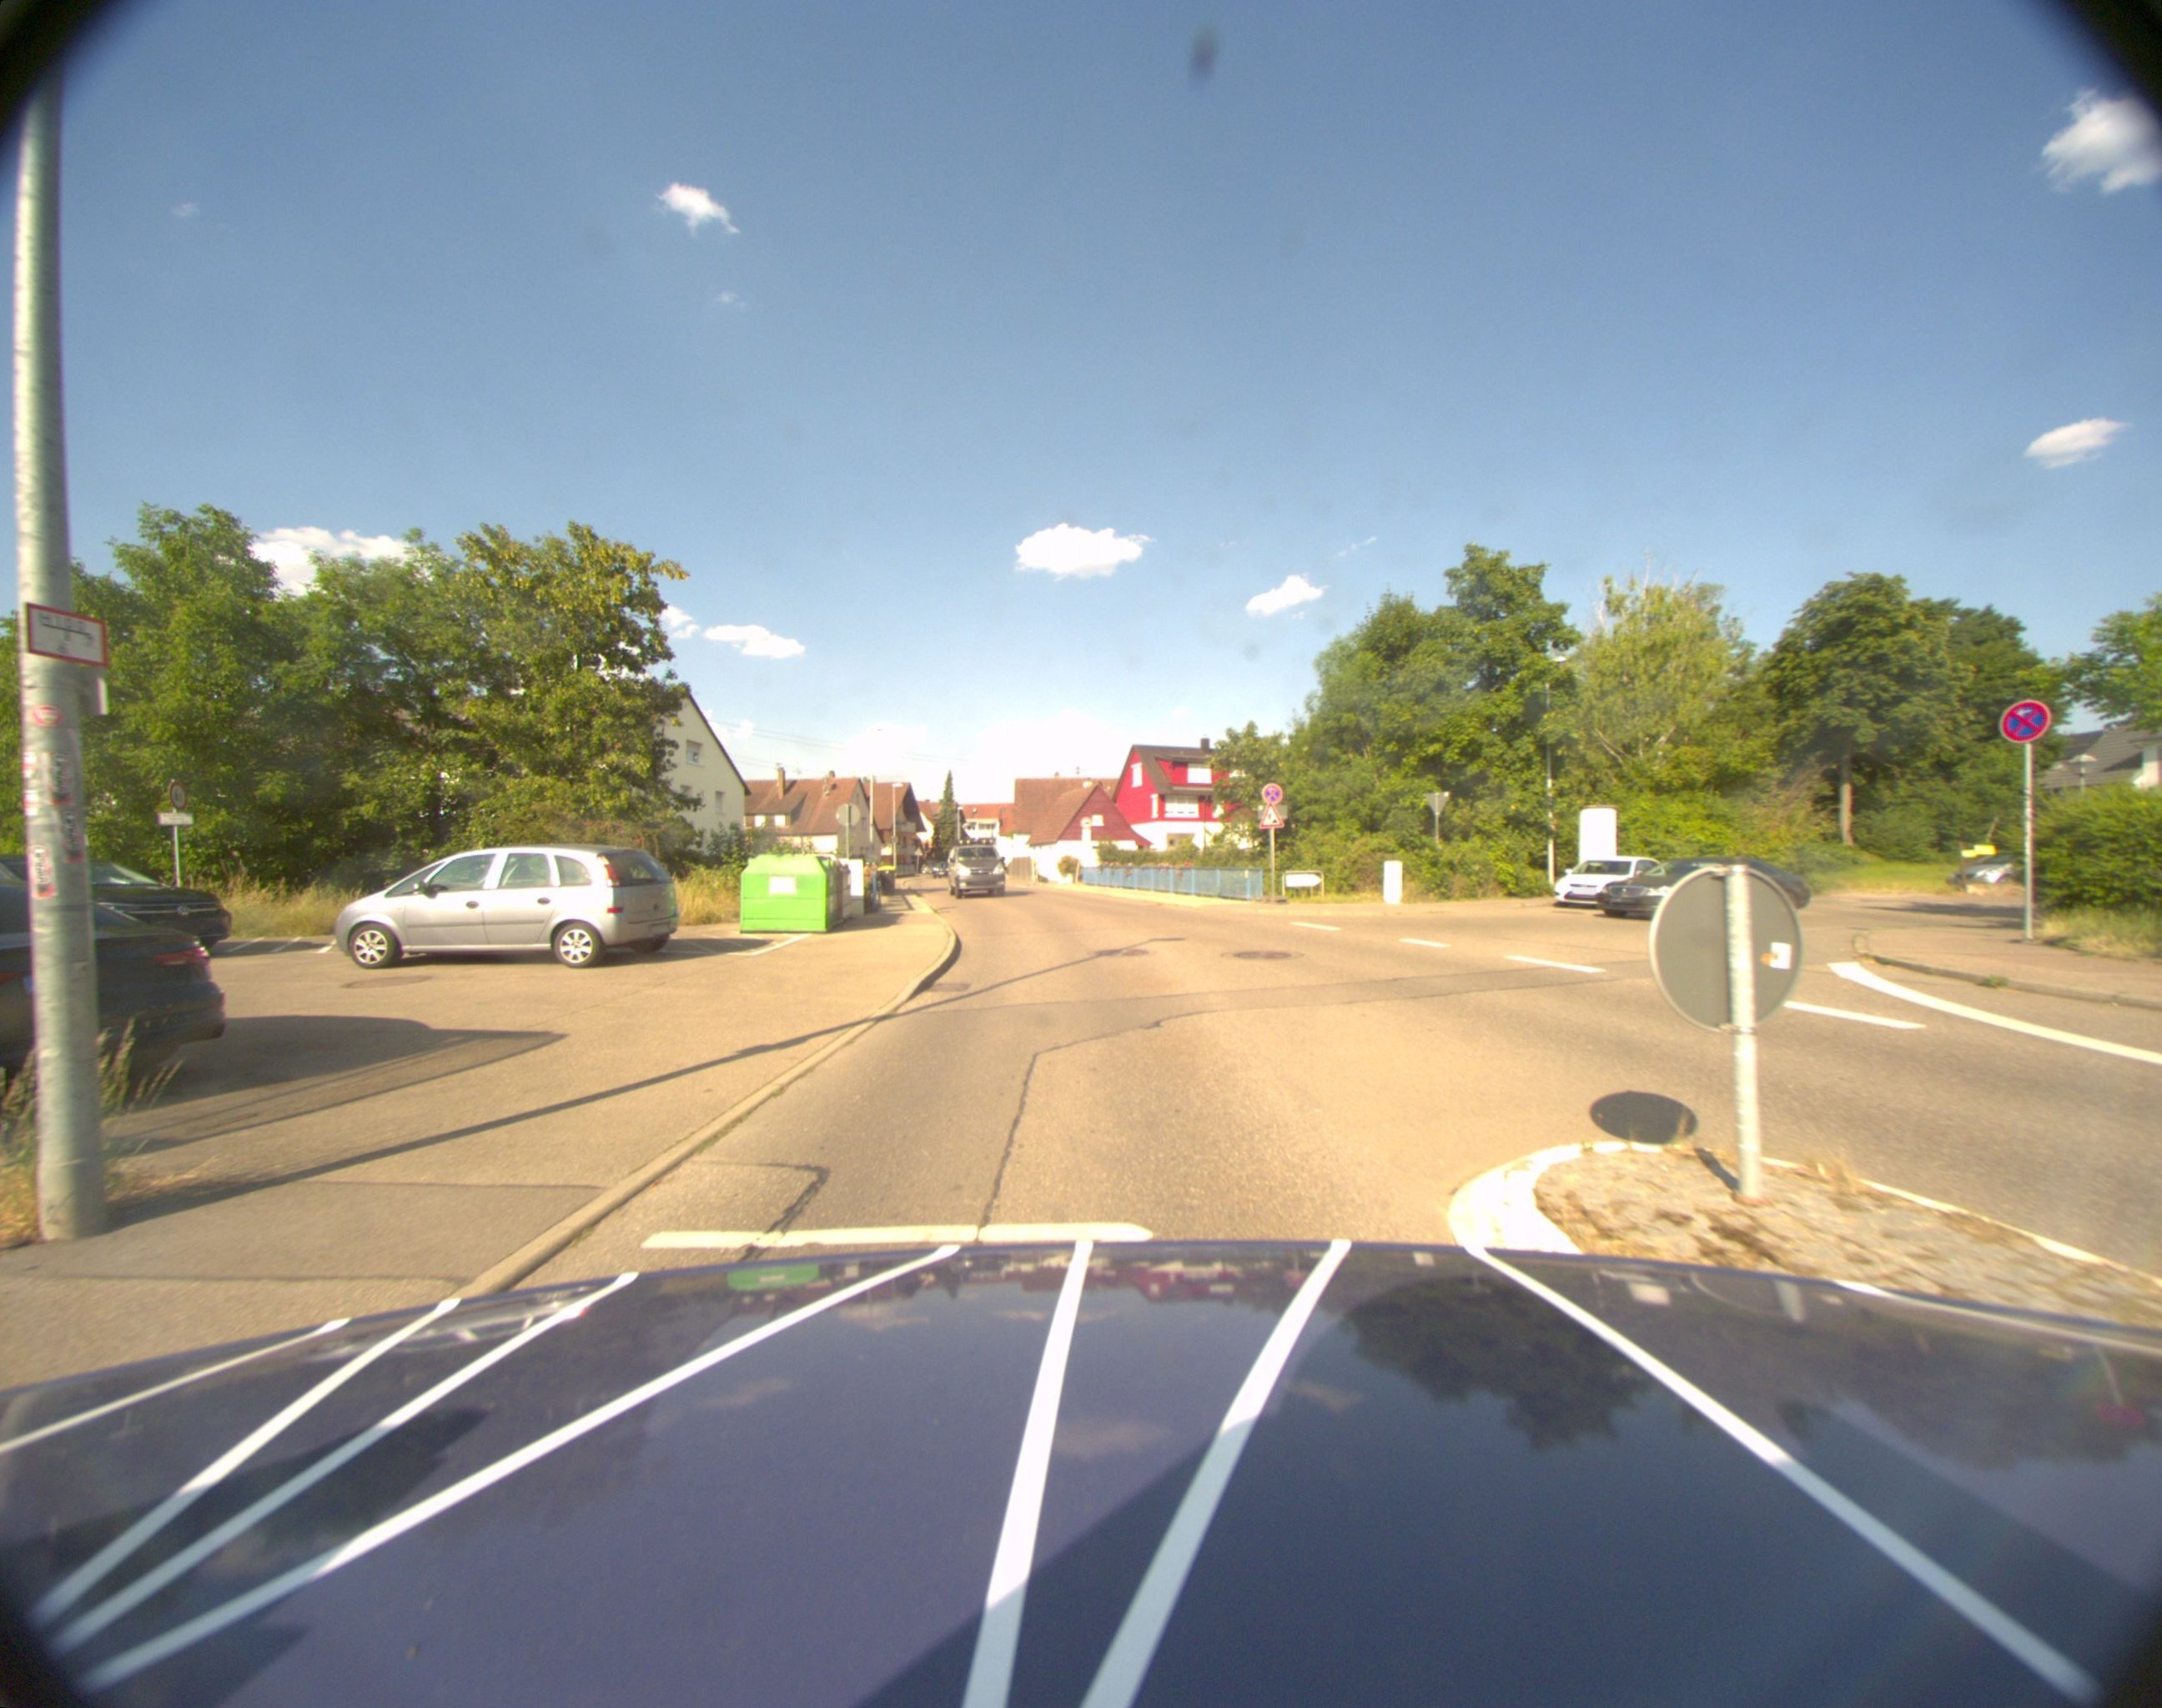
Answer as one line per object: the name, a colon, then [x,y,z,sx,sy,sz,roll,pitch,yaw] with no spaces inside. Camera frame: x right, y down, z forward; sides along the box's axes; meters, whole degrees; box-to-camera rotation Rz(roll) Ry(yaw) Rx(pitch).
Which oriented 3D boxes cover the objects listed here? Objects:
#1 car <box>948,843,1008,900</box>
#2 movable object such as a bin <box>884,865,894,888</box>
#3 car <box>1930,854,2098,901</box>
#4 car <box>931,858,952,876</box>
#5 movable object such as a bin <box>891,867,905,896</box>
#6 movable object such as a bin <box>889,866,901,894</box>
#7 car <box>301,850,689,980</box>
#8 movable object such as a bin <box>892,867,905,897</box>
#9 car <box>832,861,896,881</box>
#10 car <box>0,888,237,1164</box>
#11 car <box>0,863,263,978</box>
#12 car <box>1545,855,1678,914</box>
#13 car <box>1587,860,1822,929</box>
car: [-4.130,0.607,29.829,1.822,1.989,4.815,-2,1,-13]
movable object such as a bin: [-9.500,1.121,37.634,0.480,1.136,0.538,0,0,-15]
car: [34.501,0.839,28.168,4.040,1.650,1.771,0,1,0]
car: [-13.759,1.279,75.036,1.974,1.646,3.996,1,0,-9]
movable object such as a bin: [-7.166,1.068,29.749,0.480,1.136,0.538,0,0,-15]
movable object such as a bin: [-7.777,1.091,31.736,0.480,1.136,0.538,0,0,-15]
car: [-7.766,0.765,10.356,3.949,1.594,1.682,0,1,0]
movable object such as a bin: [-7.014,1.078,29.206,0.480,1.136,0.538,0,0,-15]
car: [-17.037,1.313,59.719,4.473,1.449,1.731,-1,0,5]
car: [-7.869,0.944,4.493,4.074,1.408,1.626,1,1,3]
car: [-14.377,0.876,10.652,3.949,1.440,1.682,0,1,0]
car: [15.250,0.802,21.789,4.283,1.483,1.857,0,1,-37]
car: [14.462,0.866,17.670,4.848,1.423,1.768,0,1,-16]
